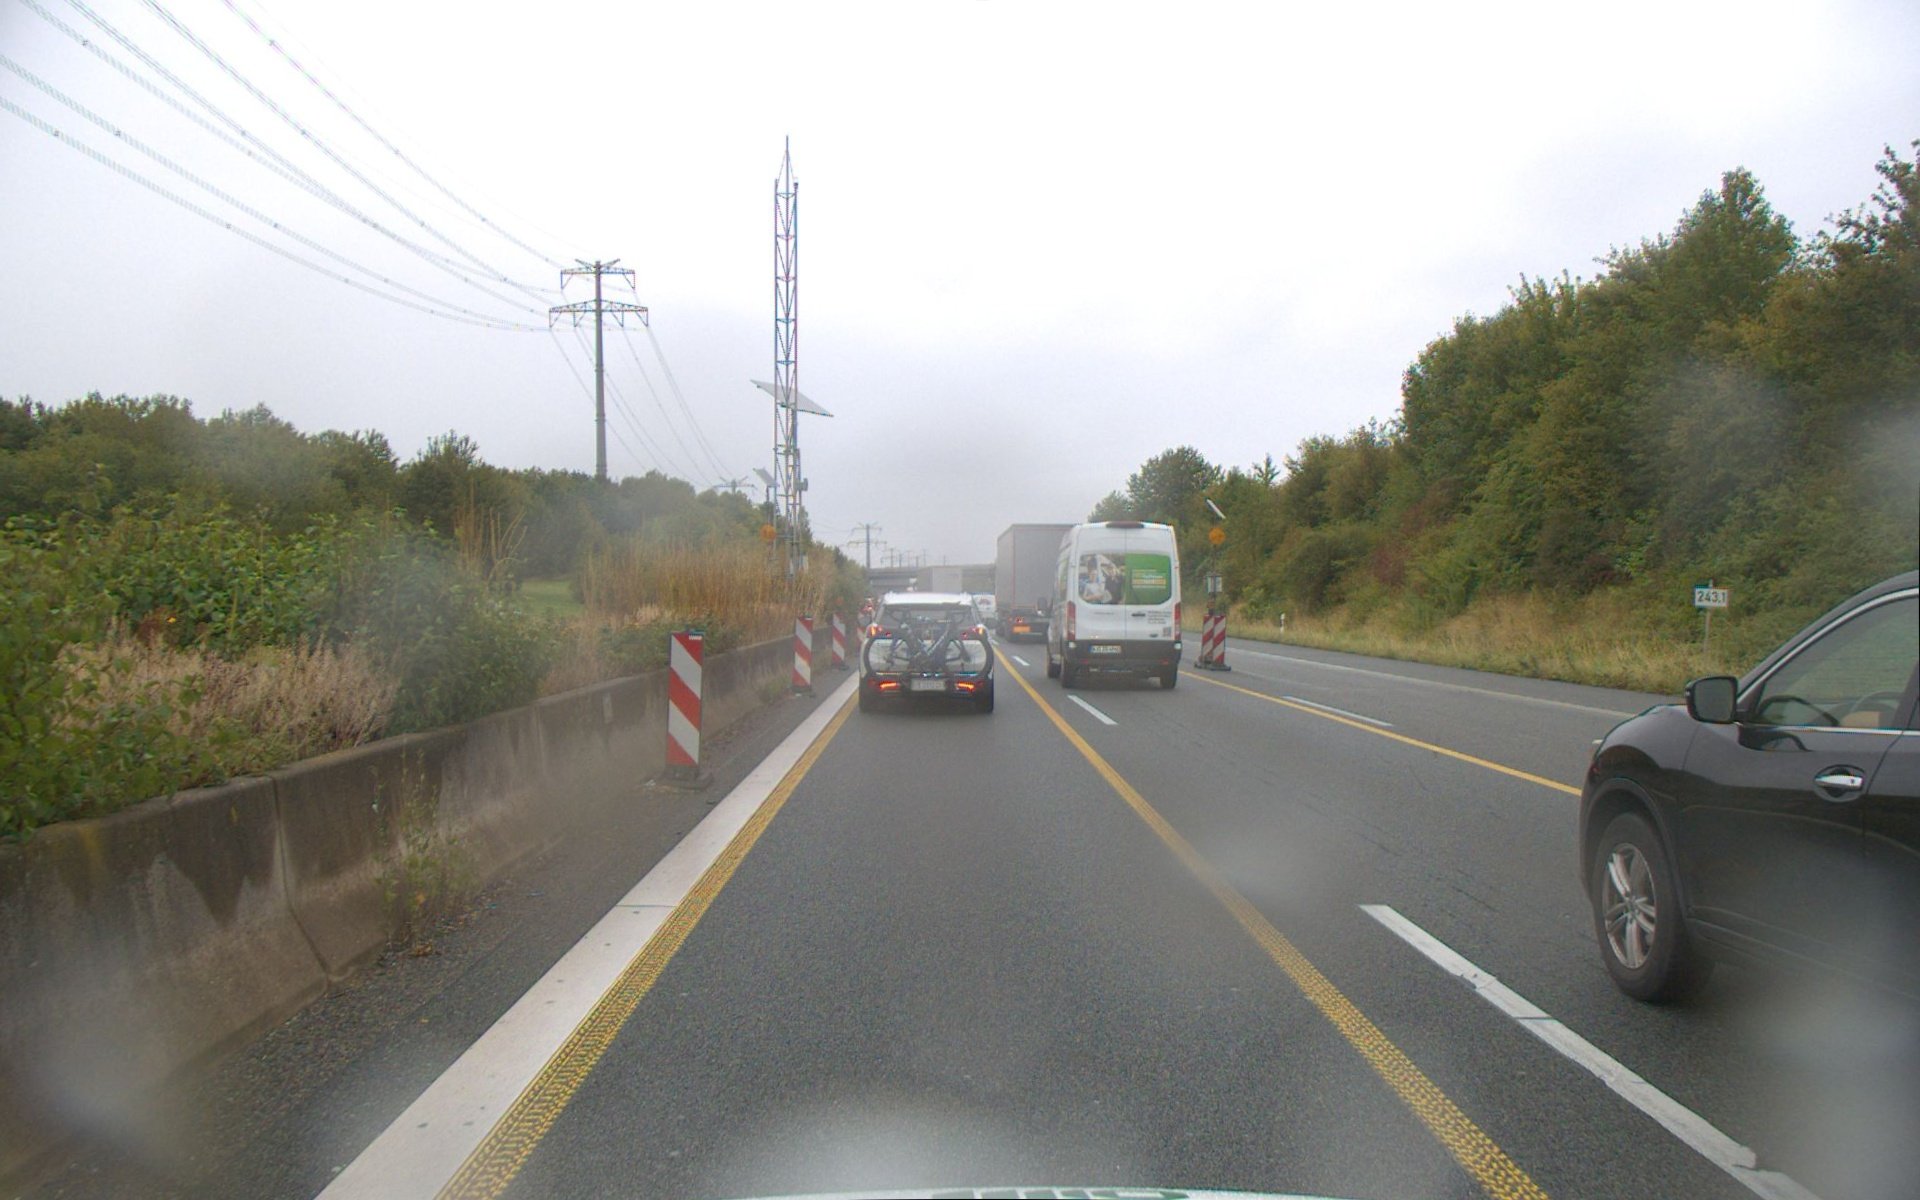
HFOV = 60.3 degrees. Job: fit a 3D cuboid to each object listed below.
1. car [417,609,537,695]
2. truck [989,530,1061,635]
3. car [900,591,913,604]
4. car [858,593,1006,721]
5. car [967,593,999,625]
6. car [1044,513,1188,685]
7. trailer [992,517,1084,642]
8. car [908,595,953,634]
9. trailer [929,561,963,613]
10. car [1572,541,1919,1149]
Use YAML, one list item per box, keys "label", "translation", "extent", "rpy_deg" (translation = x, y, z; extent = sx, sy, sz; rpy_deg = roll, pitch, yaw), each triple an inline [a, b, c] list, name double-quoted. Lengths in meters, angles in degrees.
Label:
- label: "car"
  translation: [-11.639, 1.211, 40.085]
  extent: [1.697, 1.967, 4.159]
  rpy_deg: [1, -1, -1]
- label: "truck"
  translation: [2.668, -0.696, 69.374]
  extent: [2.651, 4.211, 5.689]
  rpy_deg: [0, 0, -1]
- label: "car"
  translation: [-8.399, -0.431, 260.141]
  extent: [1.892, 2.008, 3.999]
  rpy_deg: [0, 1, -1]
- label: "car"
  translation: [-0.398, 0.699, 22.710]
  extent: [1.813, 1.557, 4.767]
  rpy_deg: [0, 0, -1]
- label: "car"
  translation: [1.363, 0.519, 100.934]
  extent: [1.792, 1.871, 4.654]
  rpy_deg: [0, 0, -1]
- label: "car"
  translation: [2.720, -0.028, 30.153]
  extent: [1.953, 2.831, 5.755]
  rpy_deg: [0, 0, -1]
- label: "trailer"
  translation: [2.757, -0.699, 62.529]
  extent: [2.651, 4.219, 13.729]
  rpy_deg: [0, 0, -1]
- label: "car"
  translation: [-1.220, 0.577, 68.954]
  extent: [1.813, 1.557, 3.999]
  rpy_deg: [0, 0, -1]
- label: "trailer"
  translation: [-1.250, -1.055, 138.027]
  extent: [2.638, 4.148, 13.629]
  rpy_deg: [0, 0, -1]
- label: "car"
  translation: [3.483, 0.681, 4.836]
  extent: [1.651, 1.687, 4.278]
  rpy_deg: [0, 0, -3]
